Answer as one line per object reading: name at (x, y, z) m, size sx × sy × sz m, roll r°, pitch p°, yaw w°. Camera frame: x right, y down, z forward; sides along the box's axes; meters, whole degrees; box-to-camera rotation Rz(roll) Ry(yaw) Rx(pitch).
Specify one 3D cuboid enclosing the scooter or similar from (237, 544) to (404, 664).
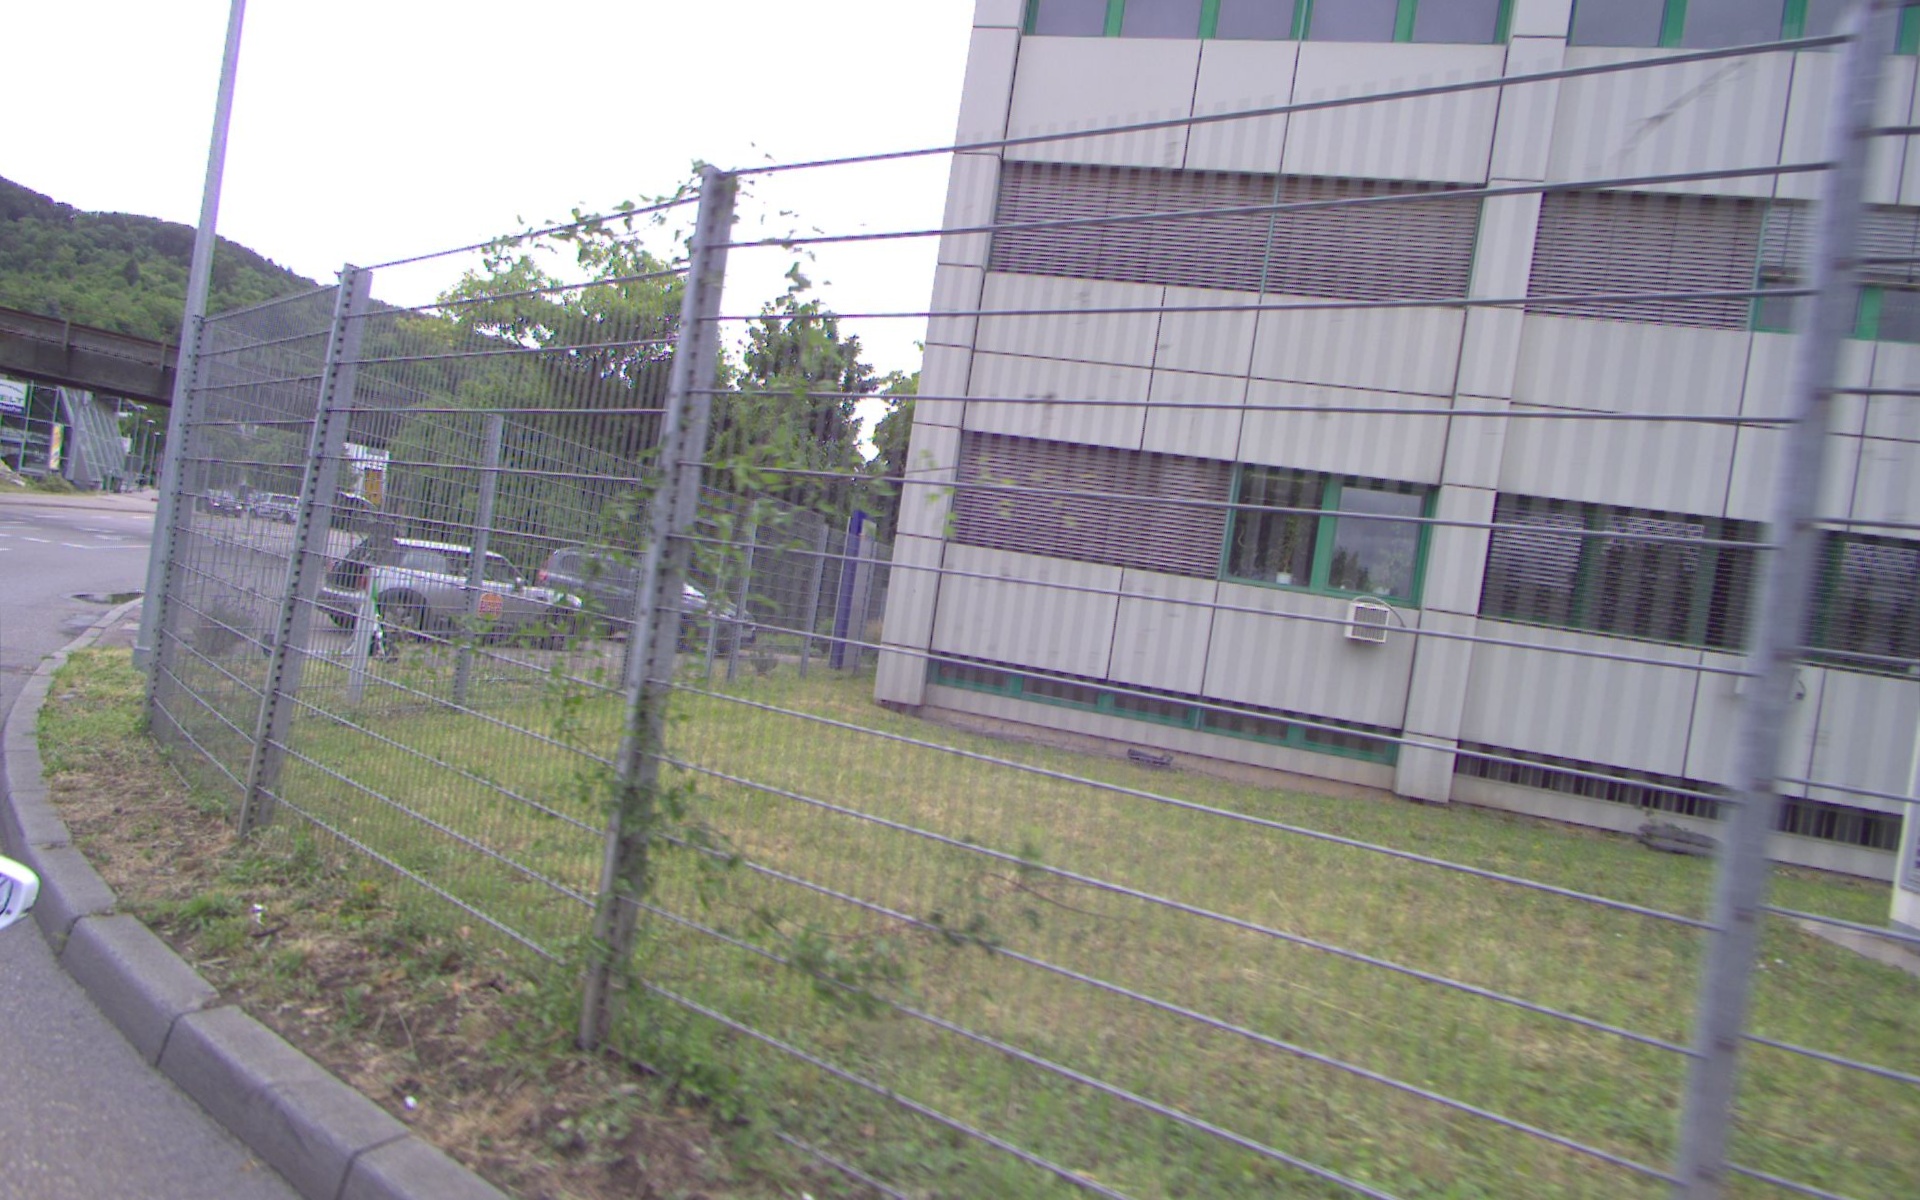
scooter or similar at (-6.985, 0.053, 11.058) m, size 1.403 × 1.147 × 0.477 m, roll 7°, pitch 1°, yaw -27°

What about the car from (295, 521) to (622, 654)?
car at (-7.508, -0.116, 15.405) m, size 1.759 × 1.449 × 4.008 m, roll 8°, pitch -1°, yaw 37°

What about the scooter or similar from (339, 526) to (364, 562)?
scooter or similar at (-22.596, -2.091, 37.342) m, size 0.501 × 1.253 × 1.651 m, roll 3°, pitch 3°, yaw -40°

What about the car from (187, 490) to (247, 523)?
car at (-50.785, -6.416, 68.746) m, size 4.304 × 1.703 × 1.995 m, roll 8°, pitch -1°, yaw 37°

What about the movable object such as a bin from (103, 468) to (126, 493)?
movable object such as a bin at (-68.410, -9.693, 81.401) m, size 1.136 × 1.778 × 1.049 m, roll 9°, pitch 0°, yaw -35°

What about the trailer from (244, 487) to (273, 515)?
trailer at (-69.210, -9.750, 99.162) m, size 1.985 × 2.371 × 3.958 m, roll 9°, pitch 0°, yaw -37°

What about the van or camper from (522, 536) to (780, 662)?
van or camper at (-6.030, -0.007, 19.683) m, size 4.422 × 1.713 × 1.835 m, roll 8°, pitch -1°, yaw 19°

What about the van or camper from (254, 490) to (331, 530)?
van or camper at (-48.545, -6.528, 73.215) m, size 4.125 × 2.107 × 2.107 m, roll 9°, pitch -1°, yaw 9°

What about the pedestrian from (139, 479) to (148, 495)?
pedestrian at (-92.644, -12.833, 114.143) m, size 0.625 × 1.693 × 0.749 m, roll 8°, pitch 0°, yaw -40°
